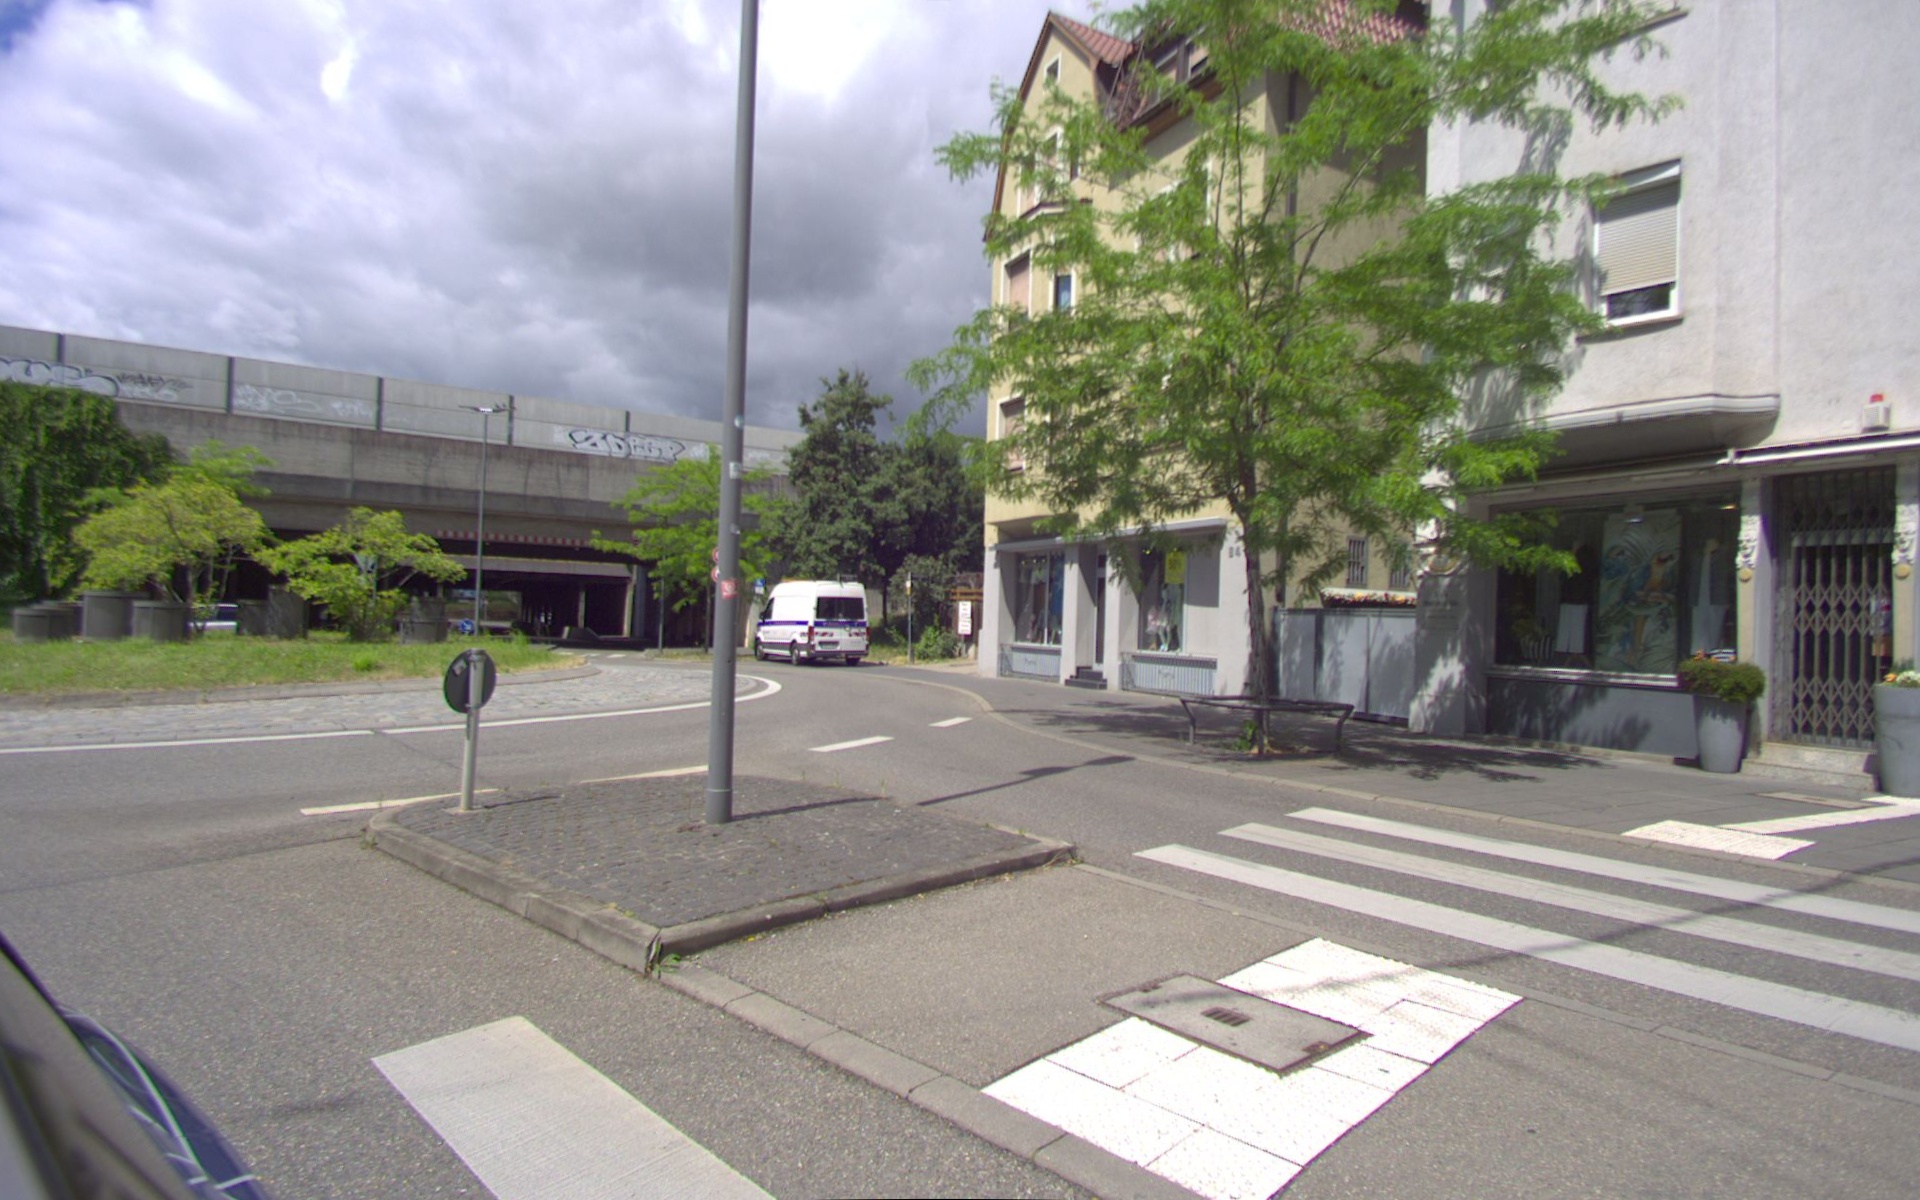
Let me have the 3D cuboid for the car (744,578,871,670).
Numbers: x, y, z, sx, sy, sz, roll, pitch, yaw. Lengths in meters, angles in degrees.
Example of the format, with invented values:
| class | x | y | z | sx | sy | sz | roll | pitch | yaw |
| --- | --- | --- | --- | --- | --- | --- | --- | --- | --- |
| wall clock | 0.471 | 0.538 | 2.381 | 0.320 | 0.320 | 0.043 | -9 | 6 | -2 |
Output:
| class | x | y | z | sx | sy | sz | roll | pitch | yaw |
| --- | --- | --- | --- | --- | --- | --- | --- | --- | --- |
| car | -4.943 | 0.748 | 31.892 | 1.940 | 2.626 | 5.949 | 1 | -1 | -30 |

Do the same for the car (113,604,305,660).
| class | x | y | z | sx | sy | sz | roll | pitch | yaw |
| --- | --- | --- | --- | --- | --- | --- | --- | --- | --- |
| car | -19.593 | 0.839 | 26.636 | 3.933 | 1.364 | 1.720 | 2 | -2 | -33 |
